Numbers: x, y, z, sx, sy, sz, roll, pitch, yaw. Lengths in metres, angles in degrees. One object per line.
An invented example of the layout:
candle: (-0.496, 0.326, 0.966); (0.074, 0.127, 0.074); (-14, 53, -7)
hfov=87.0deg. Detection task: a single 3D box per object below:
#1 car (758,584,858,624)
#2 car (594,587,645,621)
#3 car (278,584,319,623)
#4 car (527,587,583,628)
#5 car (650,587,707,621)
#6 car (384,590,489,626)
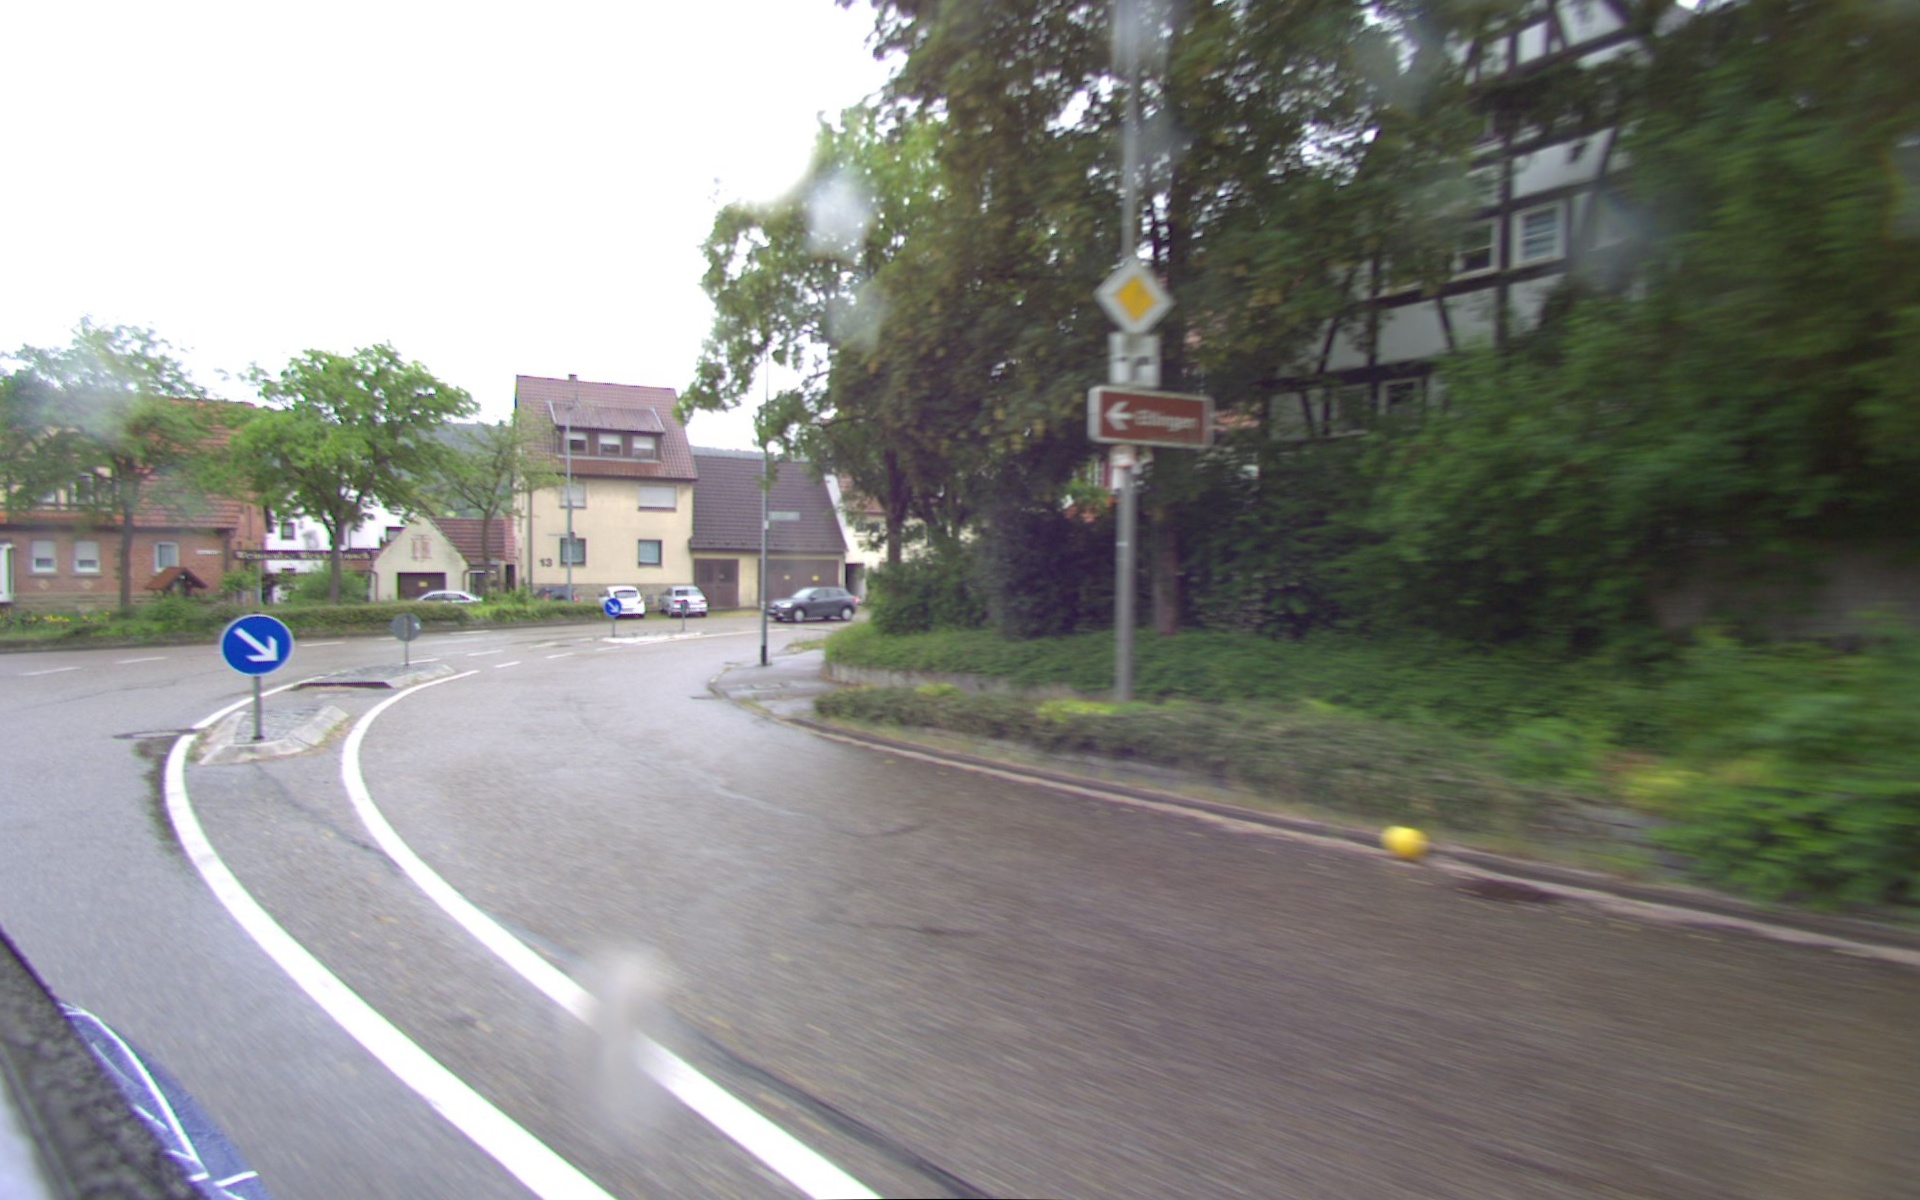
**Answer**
car: (-6.757, 0.138, 45.070); (3.934, 1.541, 2.005); (-1, 4, -36)
car: (-16.429, 0.143, 48.779); (1.689, 1.541, 3.442); (-1, 2, -30)
car: (-36.098, 0.128, 55.220); (1.573, 2.028, 4.009); (-2, 2, -37)
car: (-19.056, 0.303, 47.590); (1.719, 1.594, 4.012); (-3, 5, -32)
car: (-13.891, 0.141, 49.769); (1.789, 1.425, 4.643); (-1, 3, -28)
car: (-23.988, 0.332, 46.496); (4.191, 1.450, 1.915); (-1, 3, -26)
